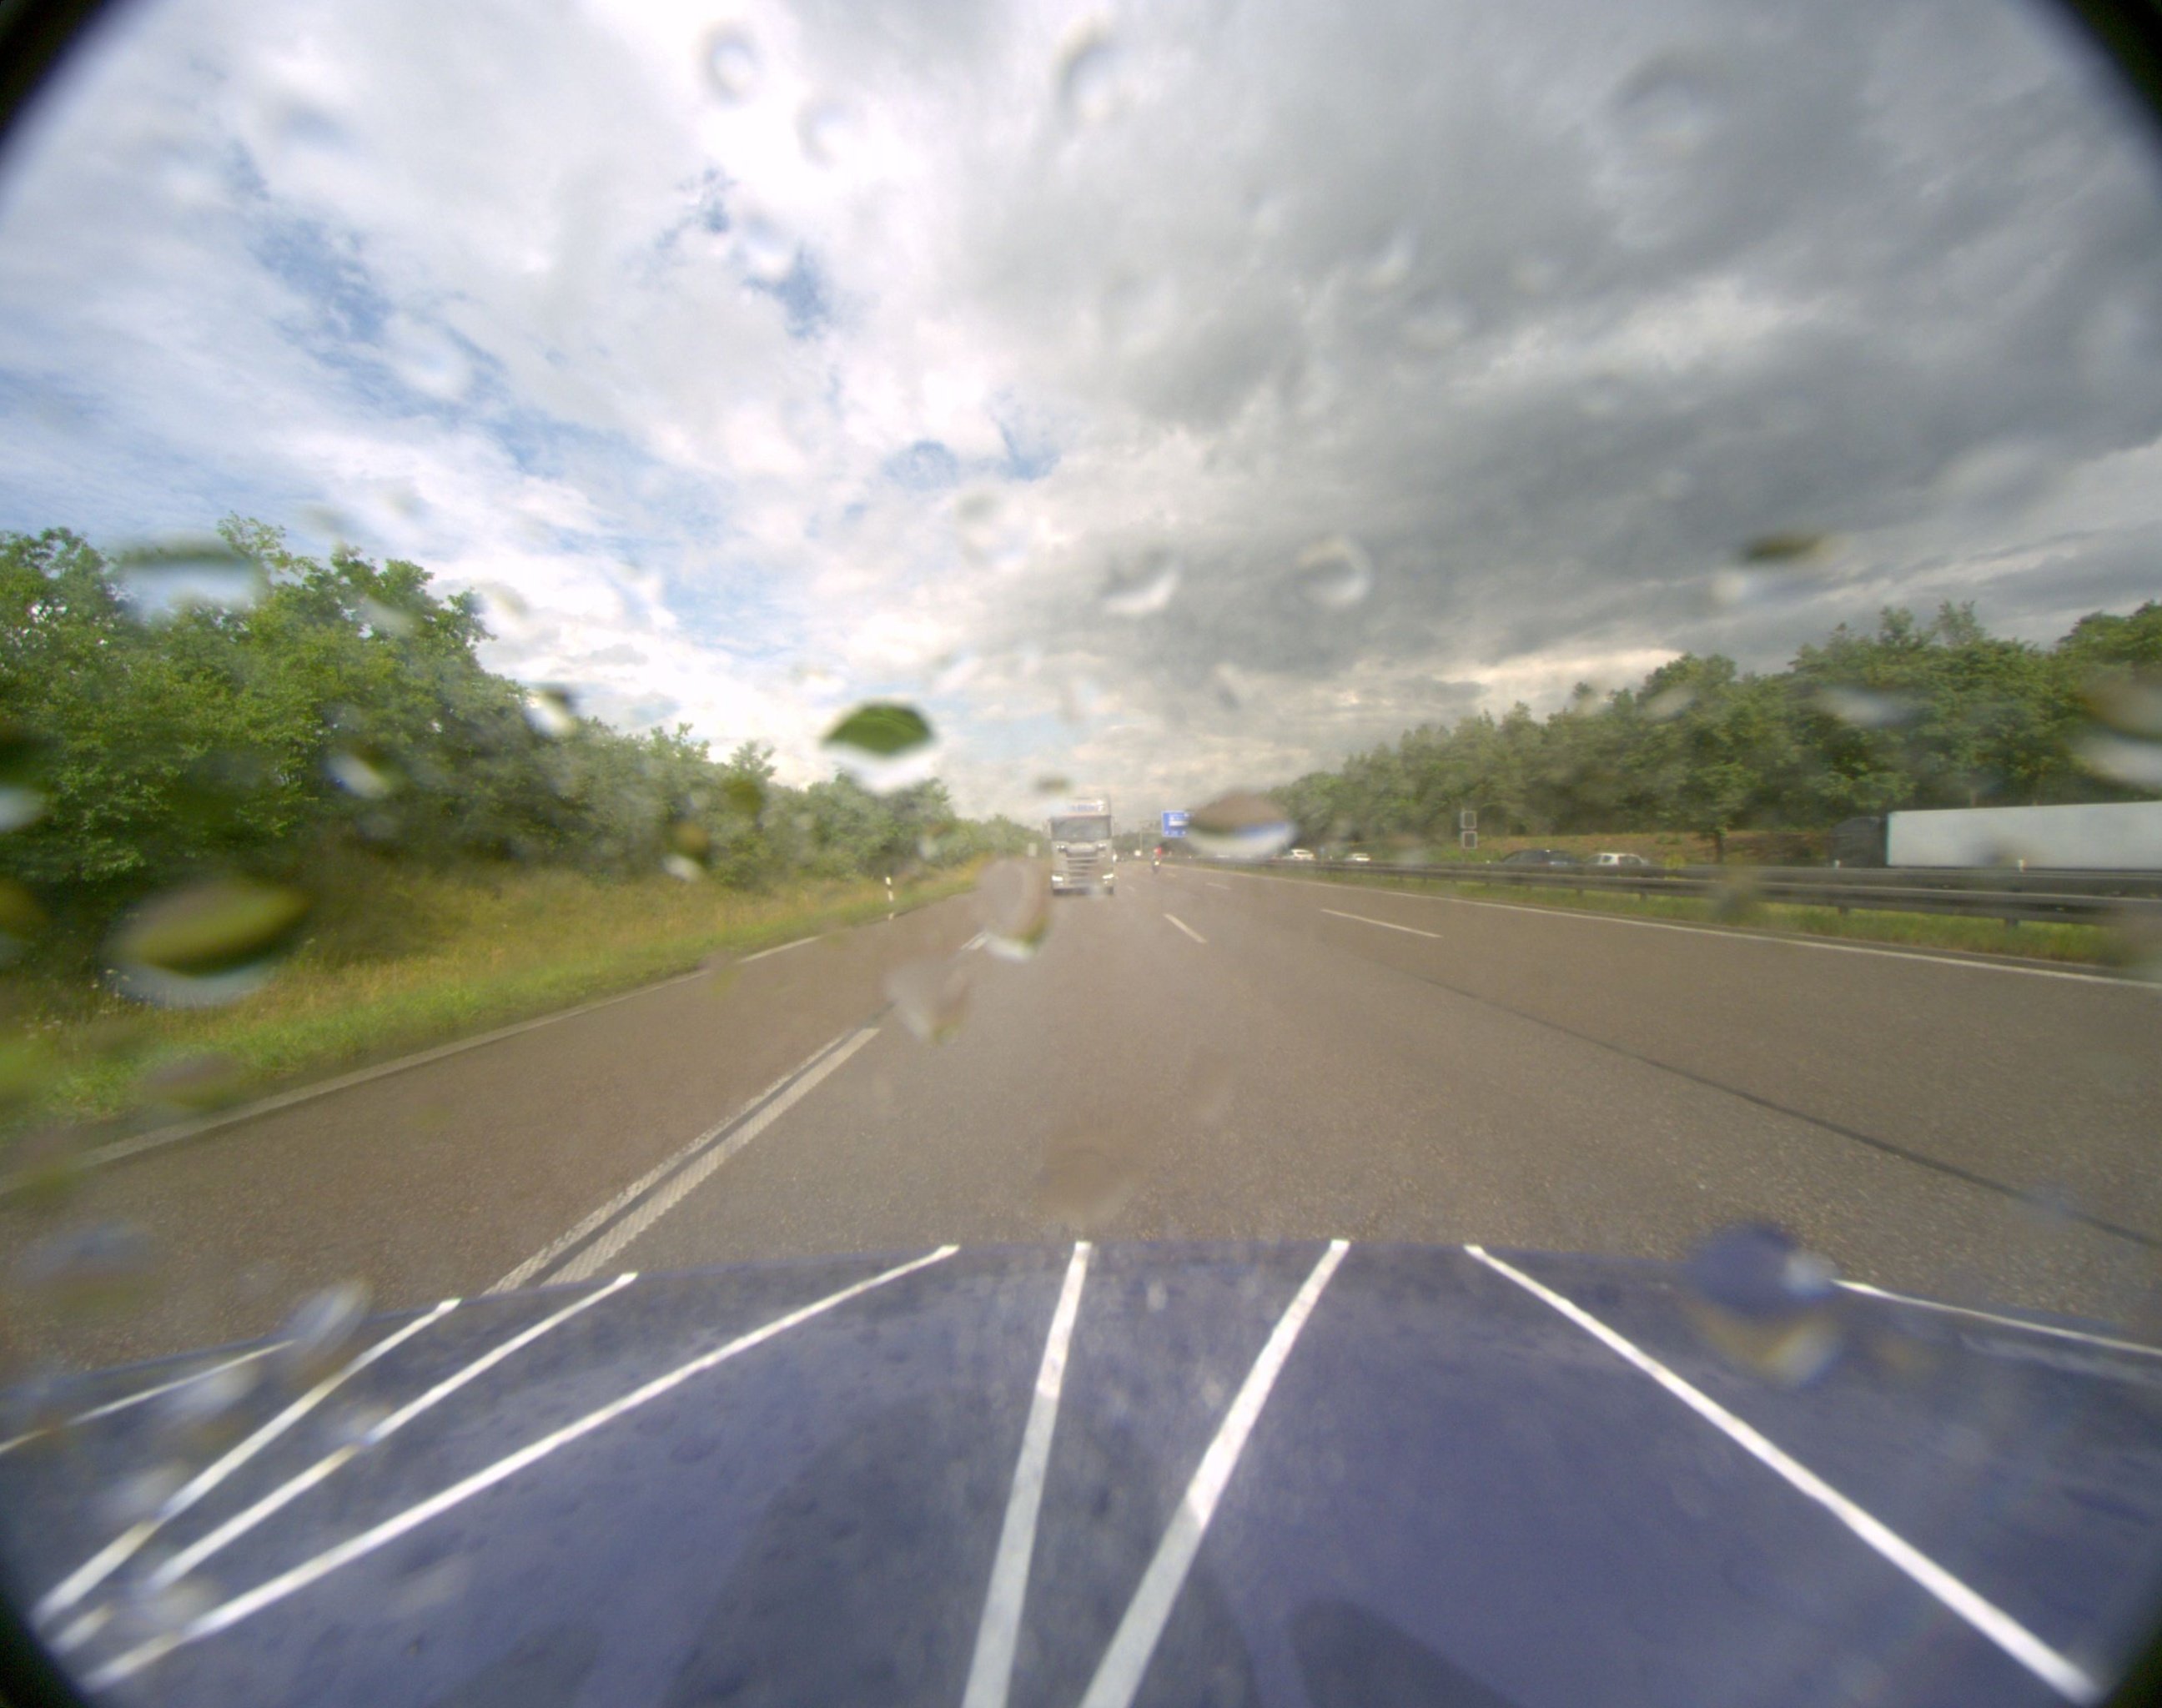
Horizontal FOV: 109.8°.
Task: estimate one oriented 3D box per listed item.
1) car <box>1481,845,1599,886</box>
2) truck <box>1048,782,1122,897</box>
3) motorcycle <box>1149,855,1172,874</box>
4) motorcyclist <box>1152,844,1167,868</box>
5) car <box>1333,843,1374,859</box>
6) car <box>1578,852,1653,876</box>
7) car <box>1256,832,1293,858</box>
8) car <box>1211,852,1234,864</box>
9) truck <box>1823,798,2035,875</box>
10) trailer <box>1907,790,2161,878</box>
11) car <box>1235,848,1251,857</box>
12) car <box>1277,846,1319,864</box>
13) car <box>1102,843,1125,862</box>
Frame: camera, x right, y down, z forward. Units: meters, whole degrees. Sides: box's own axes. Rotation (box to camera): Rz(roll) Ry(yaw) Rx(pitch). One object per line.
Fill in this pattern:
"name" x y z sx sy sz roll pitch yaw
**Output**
"car" 17.313 0.378 28.958 1.835 1.384 4.433 -2 1 1
"truck" 0.028 -0.593 32.159 2.650 4.250 6.882 -2 1 -2
"motorcycle" 5.790 0.762 55.454 1.188 1.219 3.193 -2 1 -2
"motorcyclist" 5.733 0.142 55.456 0.883 1.696 1.000 -2 1 -1
"car" 25.207 -0.304 70.422 1.978 1.384 5.158 -2 1 1
"car" 25.648 0.449 36.568 1.449 1.051 3.114 -2 1 1
"car" 25.278 -1.170 99.679 2.951 3.092 7.343 -2 1 1
"car" 17.862 0.446 95.915 1.903 1.384 5.420 -2 1 1
"truck" 45.257 -0.887 40.928 3.219 3.683 6.908 -3 1 -13
"trailer" 46.778 -0.852 34.525 3.215 3.717 12.554 -1 0 -13
"car" 21.417 -0.171 100.354 1.449 1.051 3.114 -2 1 1
"car" 17.676 0.057 62.156 1.903 1.384 5.420 -2 1 1
"car" 4.575 -0.268 107.893 2.650 2.460 6.882 -2 1 -2
